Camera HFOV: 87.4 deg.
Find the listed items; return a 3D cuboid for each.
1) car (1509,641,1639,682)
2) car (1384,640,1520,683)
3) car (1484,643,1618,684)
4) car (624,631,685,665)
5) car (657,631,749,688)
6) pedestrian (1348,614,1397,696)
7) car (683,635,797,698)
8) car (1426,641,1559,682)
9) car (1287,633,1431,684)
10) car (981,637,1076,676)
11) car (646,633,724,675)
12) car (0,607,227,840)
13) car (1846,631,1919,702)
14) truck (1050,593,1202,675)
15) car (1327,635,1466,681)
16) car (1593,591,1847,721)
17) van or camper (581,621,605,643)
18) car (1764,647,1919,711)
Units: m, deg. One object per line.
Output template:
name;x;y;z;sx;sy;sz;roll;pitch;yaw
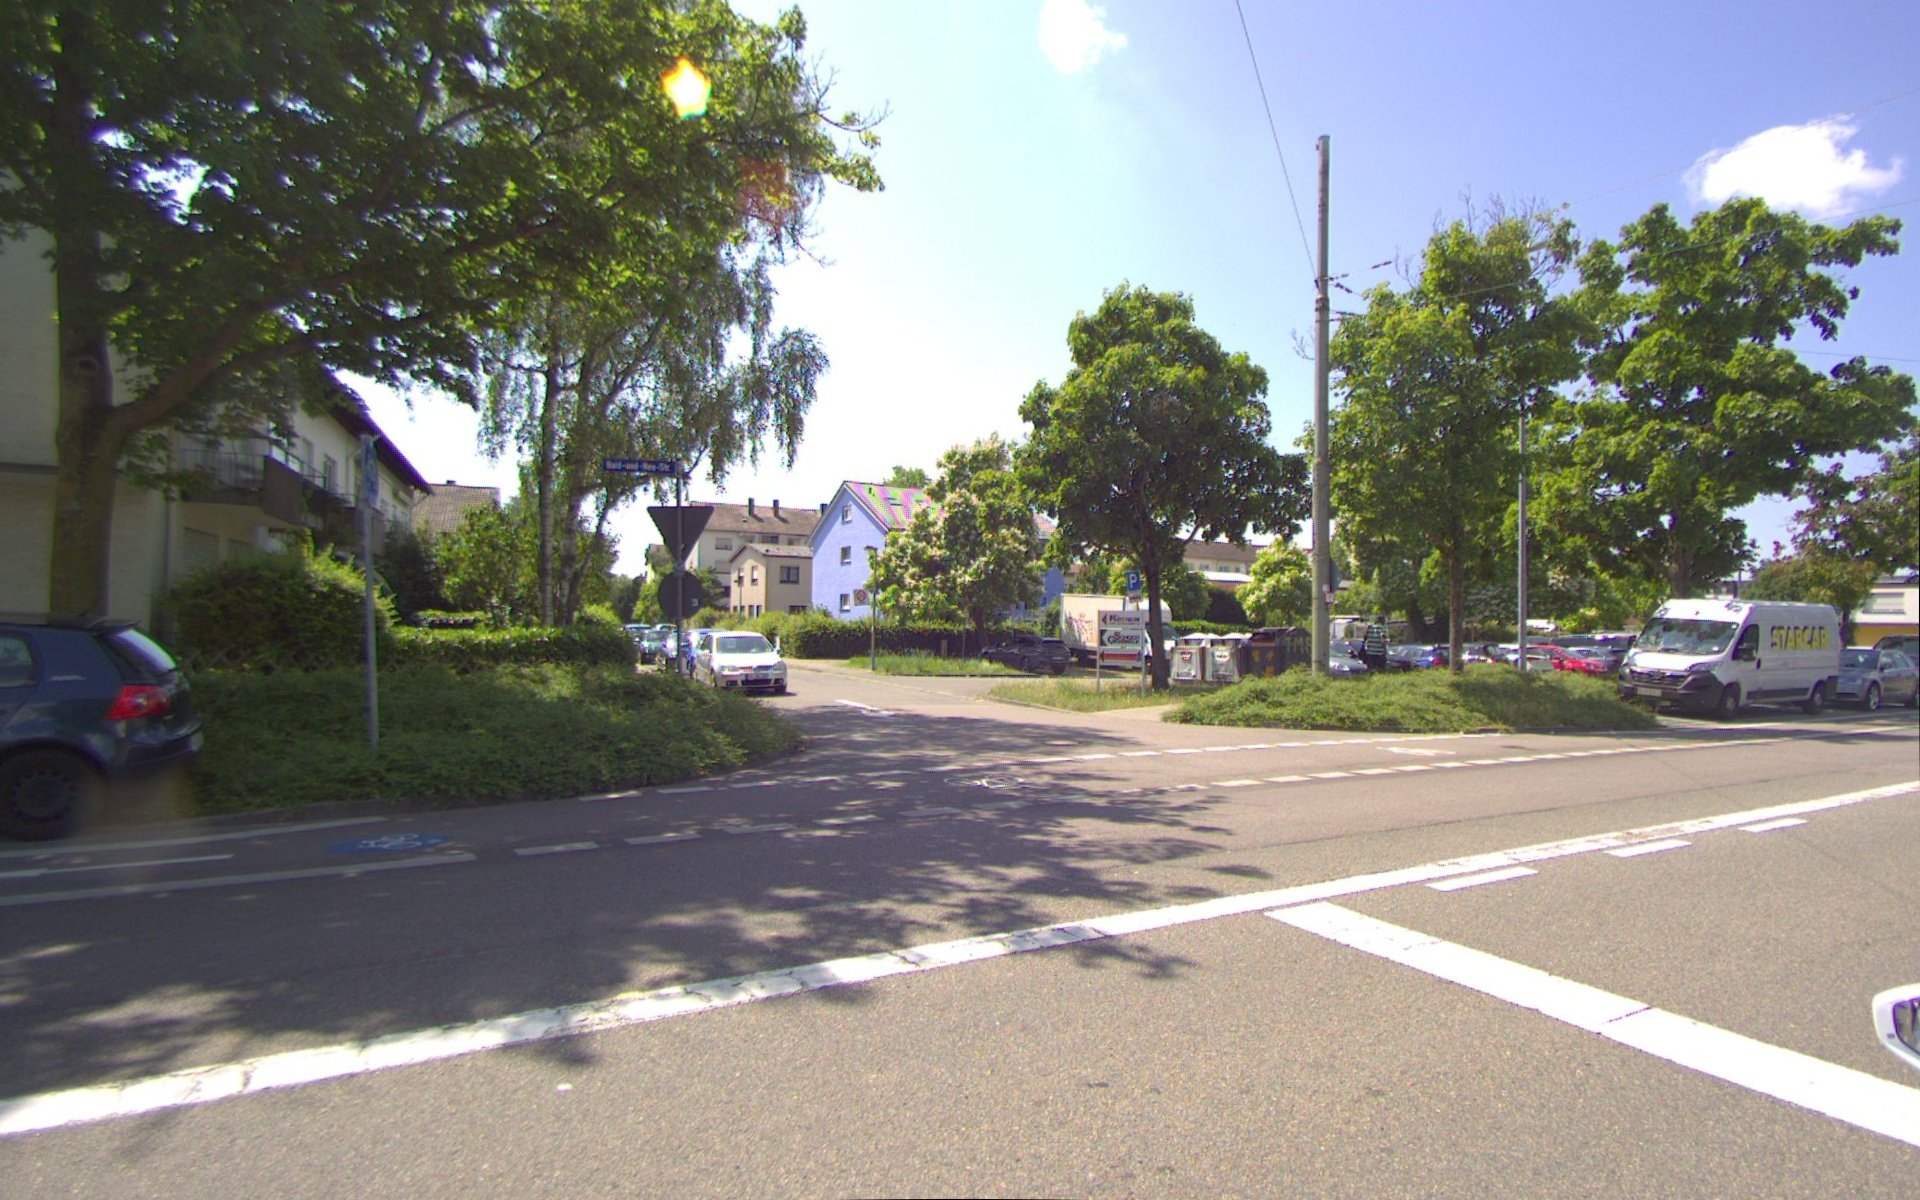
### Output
car;23.849;2.363;39.147;1.785;1.461;3.967;2;-2;-31
car;17.201;2.116;35.286;1.785;1.357;3.966;2;-2;-31
car;21.940;2.319;37.413;1.785;1.357;3.966;2;-2;-31
car;-13.028;1.999;42.688;1.788;1.334;3.972;2;-2;-27
car;-7.656;1.709;29.726;1.788;1.536;3.972;2;-2;-27
pedestrian;9.556;1.252;23.269;0.960;1.847;0.793;0;-2;29
car;-5.485;1.579;24.687;1.788;1.376;3.972;2;-2;-27
car;19.385;2.208;36.717;1.785;1.357;3.966;2;-2;-31
car;12.544;1.810;31.783;1.785;1.461;3.966;2;-2;-31
car;2.638;2.190;39.496;1.753;1.417;3.965;2;-2;-32
car;-9.467;1.815;34.366;1.788;1.334;3.972;2;-2;-27
car;-7.660;0.807;6.939;4.002;1.500;1.765;2;0;-31
car;27.665;1.902;29.051;4.221;1.920;1.860;2;-2;-31
truck;7.019;1.442;43.486;2.307;3.270;7.147;2;-2;-32
car;14.395;1.889;33.315;1.785;1.357;3.966;2;-2;-31
car;17.079;1.202;22.481;6.117;2.520;2.147;2;2;-29
van or camper;-34.708;3.038;94.979;1.855;2.040;3.976;2;-2;-25
car;22.459;1.963;25.461;4.292;1.456;1.860;2;-2;-31
